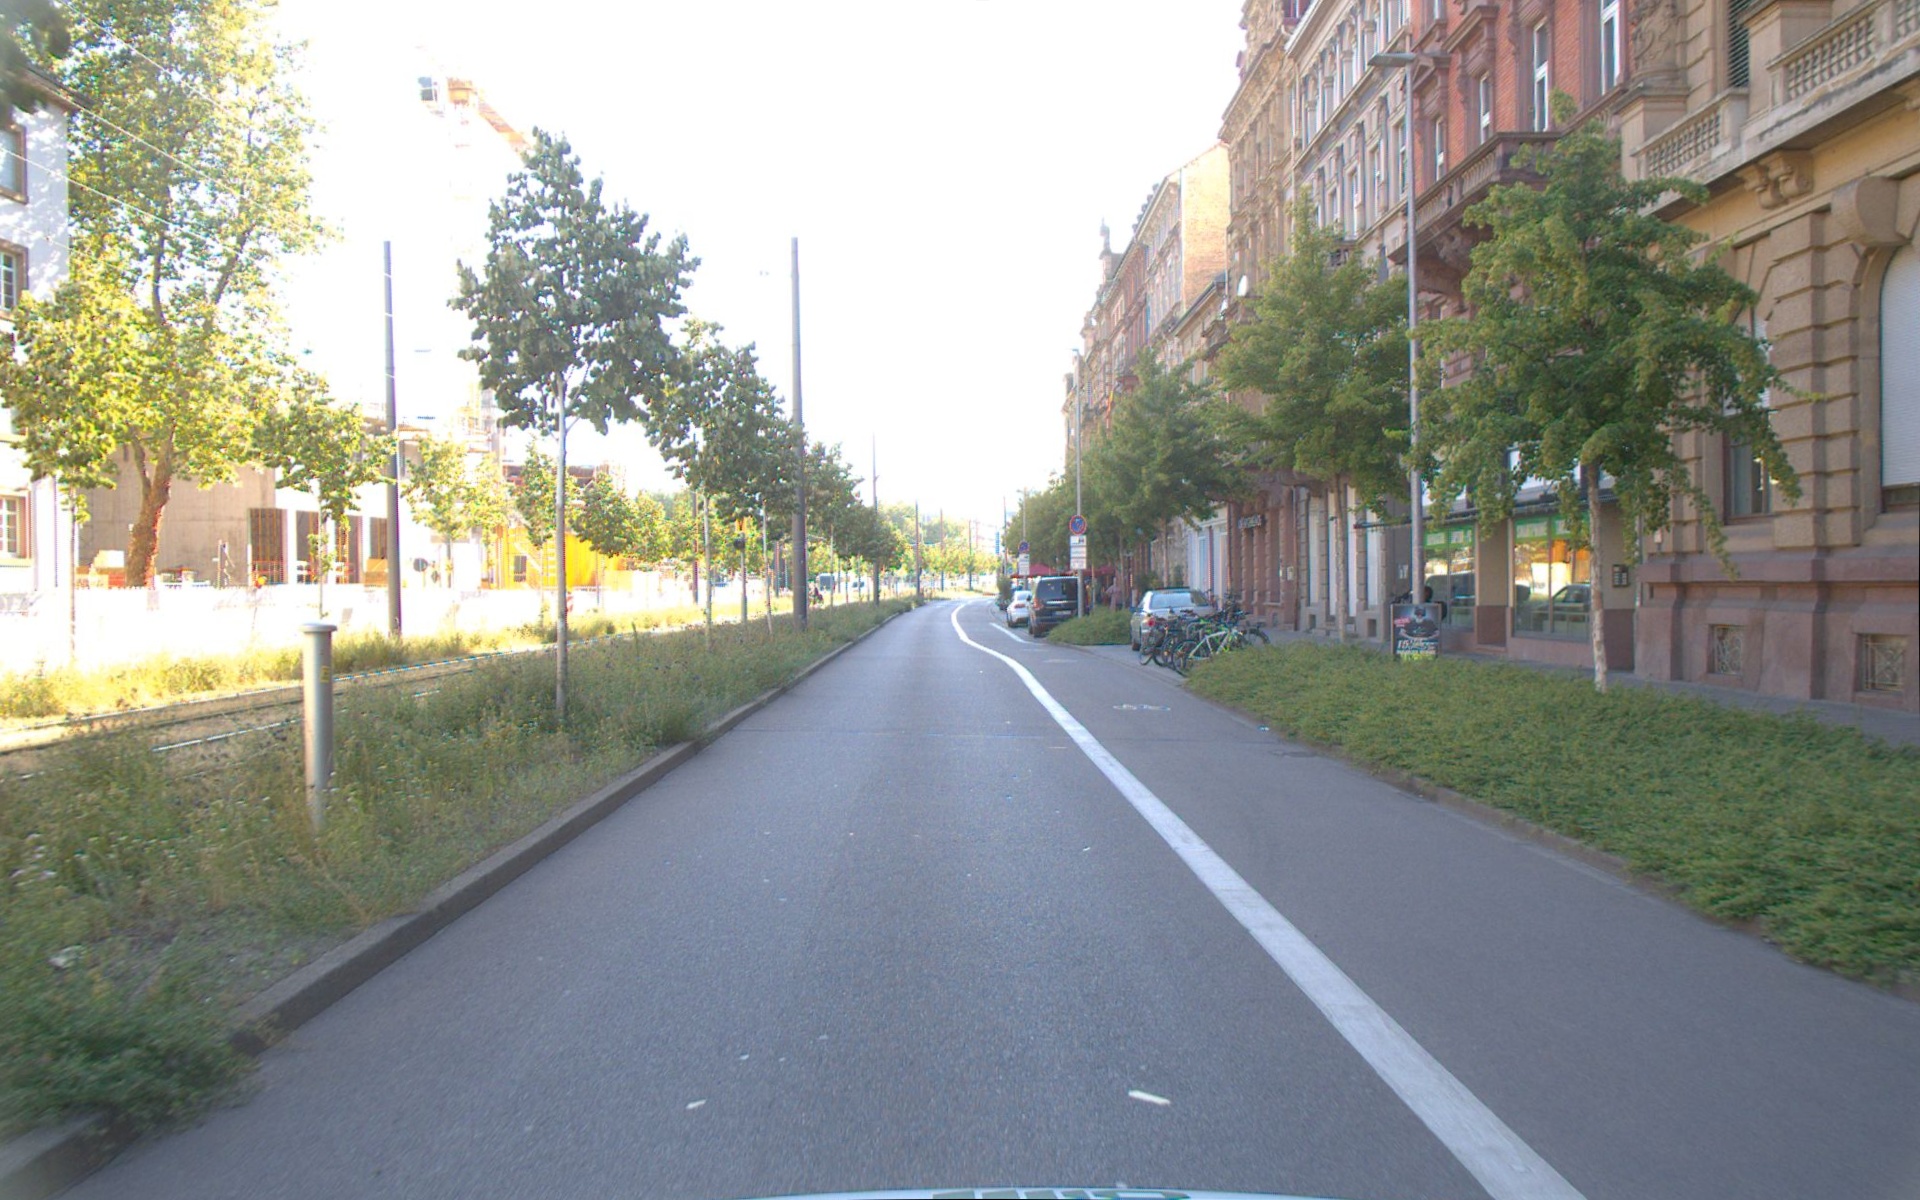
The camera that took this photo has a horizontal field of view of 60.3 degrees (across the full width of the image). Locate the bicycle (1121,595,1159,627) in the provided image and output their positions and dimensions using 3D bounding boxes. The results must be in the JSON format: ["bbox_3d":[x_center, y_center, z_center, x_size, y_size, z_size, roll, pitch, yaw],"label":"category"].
[{"bbox_3d":[6.654,0.394,61.376,1.059,1.103,2.769,0,1,-1],"label":"bicycle"}]

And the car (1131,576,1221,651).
[{"bbox_3d":[4.966,0.262,38.450,1.603,1.511,4.213,-3,1,2],"label":"car"}]

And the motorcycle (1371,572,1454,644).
[{"bbox_3d":[9.075,0.136,33.311,0.779,1.331,2.852,-3,1,-1],"label":"motorcycle"}]

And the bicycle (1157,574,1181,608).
[{"bbox_3d":[9.202,-0.399,72.882,0.647,1.427,2.352,-1,1,-1],"label":"bicycle"}]

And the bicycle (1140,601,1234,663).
[{"bbox_3d":[4.329,0.613,31.590,1.657,1.066,0.489,-4,0,-1],"label":"bicycle"}]

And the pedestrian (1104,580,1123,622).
[{"bbox_3d":[5.462,0.029,58.800,0.612,1.485,0.638,-1,0,-1],"label":"pedestrian"}]

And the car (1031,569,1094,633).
[{"bbox_3d":[3.367,-0.014,54.940,1.846,1.971,4.474,-1,1,1],"label":"car"}]

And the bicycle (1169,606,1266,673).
[{"bbox_3d":[4.442,0.669,28.569,1.547,1.066,0.488,-3,1,-9],"label":"bicycle"}]

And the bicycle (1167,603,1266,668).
[{"bbox_3d":[4.637,0.632,29.899,1.660,1.066,0.488,-3,1,-9],"label":"bicycle"}]

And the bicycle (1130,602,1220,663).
[{"bbox_3d":[4.260,0.639,32.824,1.657,1.066,0.489,-4,0,-1],"label":"bicycle"}]

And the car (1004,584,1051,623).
[{"bbox_3d":[2.760,0.112,68.272,1.811,1.483,4.157,-1,1,1],"label":"car"}]

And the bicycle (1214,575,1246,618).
[{"bbox_3d":[9.304,-0.124,57.043,0.647,1.427,2.352,-1,1,-1],"label":"bicycle"}]

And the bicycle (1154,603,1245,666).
[{"bbox_3d":[4.399,0.622,30.432,1.547,1.066,0.488,-3,1,-9],"label":"bicycle"}]

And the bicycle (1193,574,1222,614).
[{"bbox_3d":[9.198,-0.237,61.503,0.647,1.427,2.352,-1,1,-1],"label":"bicycle"}]
